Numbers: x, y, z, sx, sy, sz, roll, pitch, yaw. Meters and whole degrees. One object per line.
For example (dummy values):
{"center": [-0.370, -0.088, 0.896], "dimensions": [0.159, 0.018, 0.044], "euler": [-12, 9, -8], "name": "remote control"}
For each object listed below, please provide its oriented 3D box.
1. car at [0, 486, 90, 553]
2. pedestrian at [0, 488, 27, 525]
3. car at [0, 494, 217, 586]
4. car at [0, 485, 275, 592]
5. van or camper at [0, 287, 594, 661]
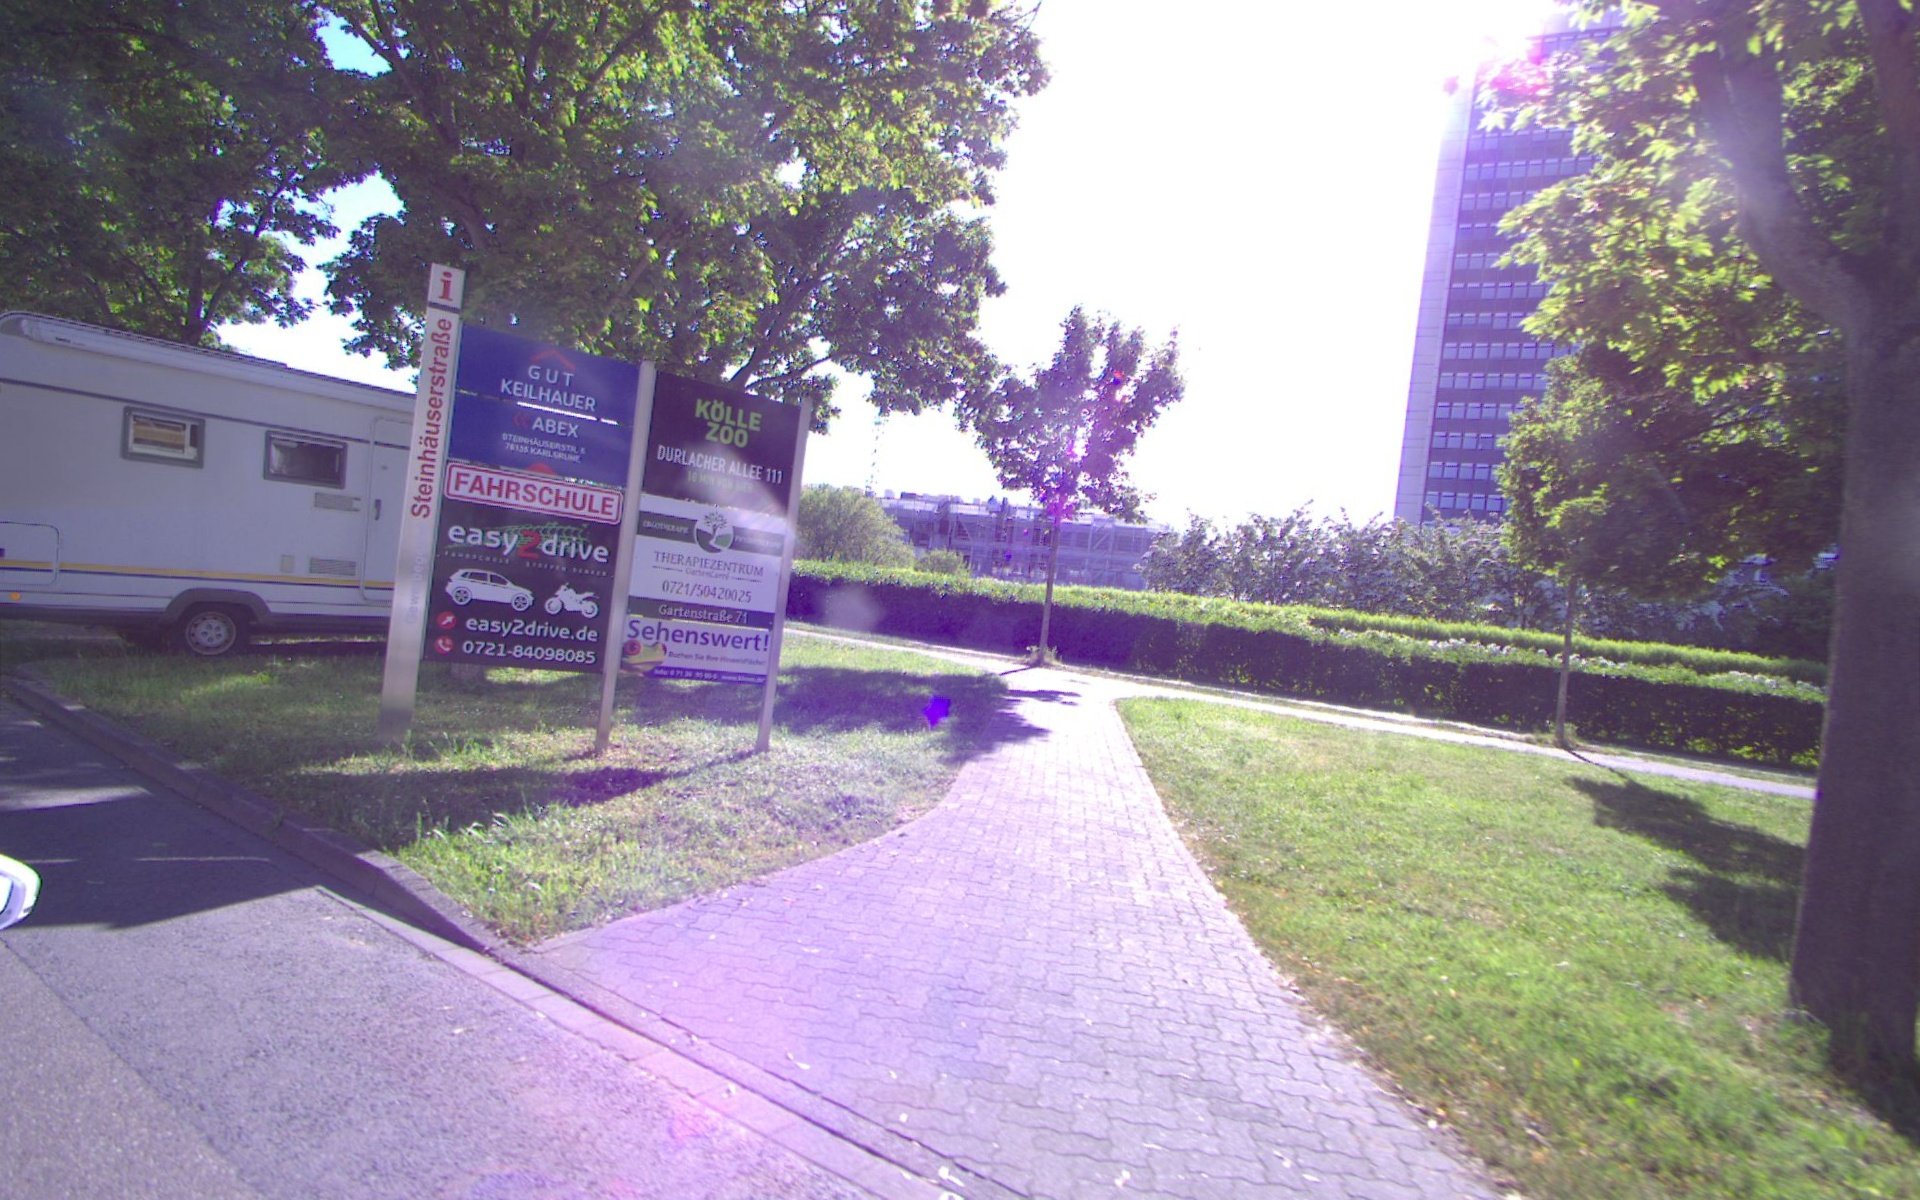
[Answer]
{"center": [-24.414, -2.111, 25.412], "dimensions": [1.603, 1.565, 3.427], "euler": [7, 3, 39], "name": "car"}
{"center": [-44.605, -4.405, 47.304], "dimensions": [0.838, 1.608, 0.725], "euler": [7, 1, 27], "name": "pedestrian"}
{"center": [-17.135, -1.174, 19.918], "dimensions": [1.829, 1.499, 3.459], "euler": [7, 2, 34], "name": "car"}
{"center": [-15.076, -1.088, 18.076], "dimensions": [1.832, 1.567, 4.186], "euler": [7, 3, 38], "name": "car"}
{"center": [-7.450, -1.043, 10.893], "dimensions": [2.630, 3.024, 5.975], "euler": [7, 2, 36], "name": "van or camper"}
